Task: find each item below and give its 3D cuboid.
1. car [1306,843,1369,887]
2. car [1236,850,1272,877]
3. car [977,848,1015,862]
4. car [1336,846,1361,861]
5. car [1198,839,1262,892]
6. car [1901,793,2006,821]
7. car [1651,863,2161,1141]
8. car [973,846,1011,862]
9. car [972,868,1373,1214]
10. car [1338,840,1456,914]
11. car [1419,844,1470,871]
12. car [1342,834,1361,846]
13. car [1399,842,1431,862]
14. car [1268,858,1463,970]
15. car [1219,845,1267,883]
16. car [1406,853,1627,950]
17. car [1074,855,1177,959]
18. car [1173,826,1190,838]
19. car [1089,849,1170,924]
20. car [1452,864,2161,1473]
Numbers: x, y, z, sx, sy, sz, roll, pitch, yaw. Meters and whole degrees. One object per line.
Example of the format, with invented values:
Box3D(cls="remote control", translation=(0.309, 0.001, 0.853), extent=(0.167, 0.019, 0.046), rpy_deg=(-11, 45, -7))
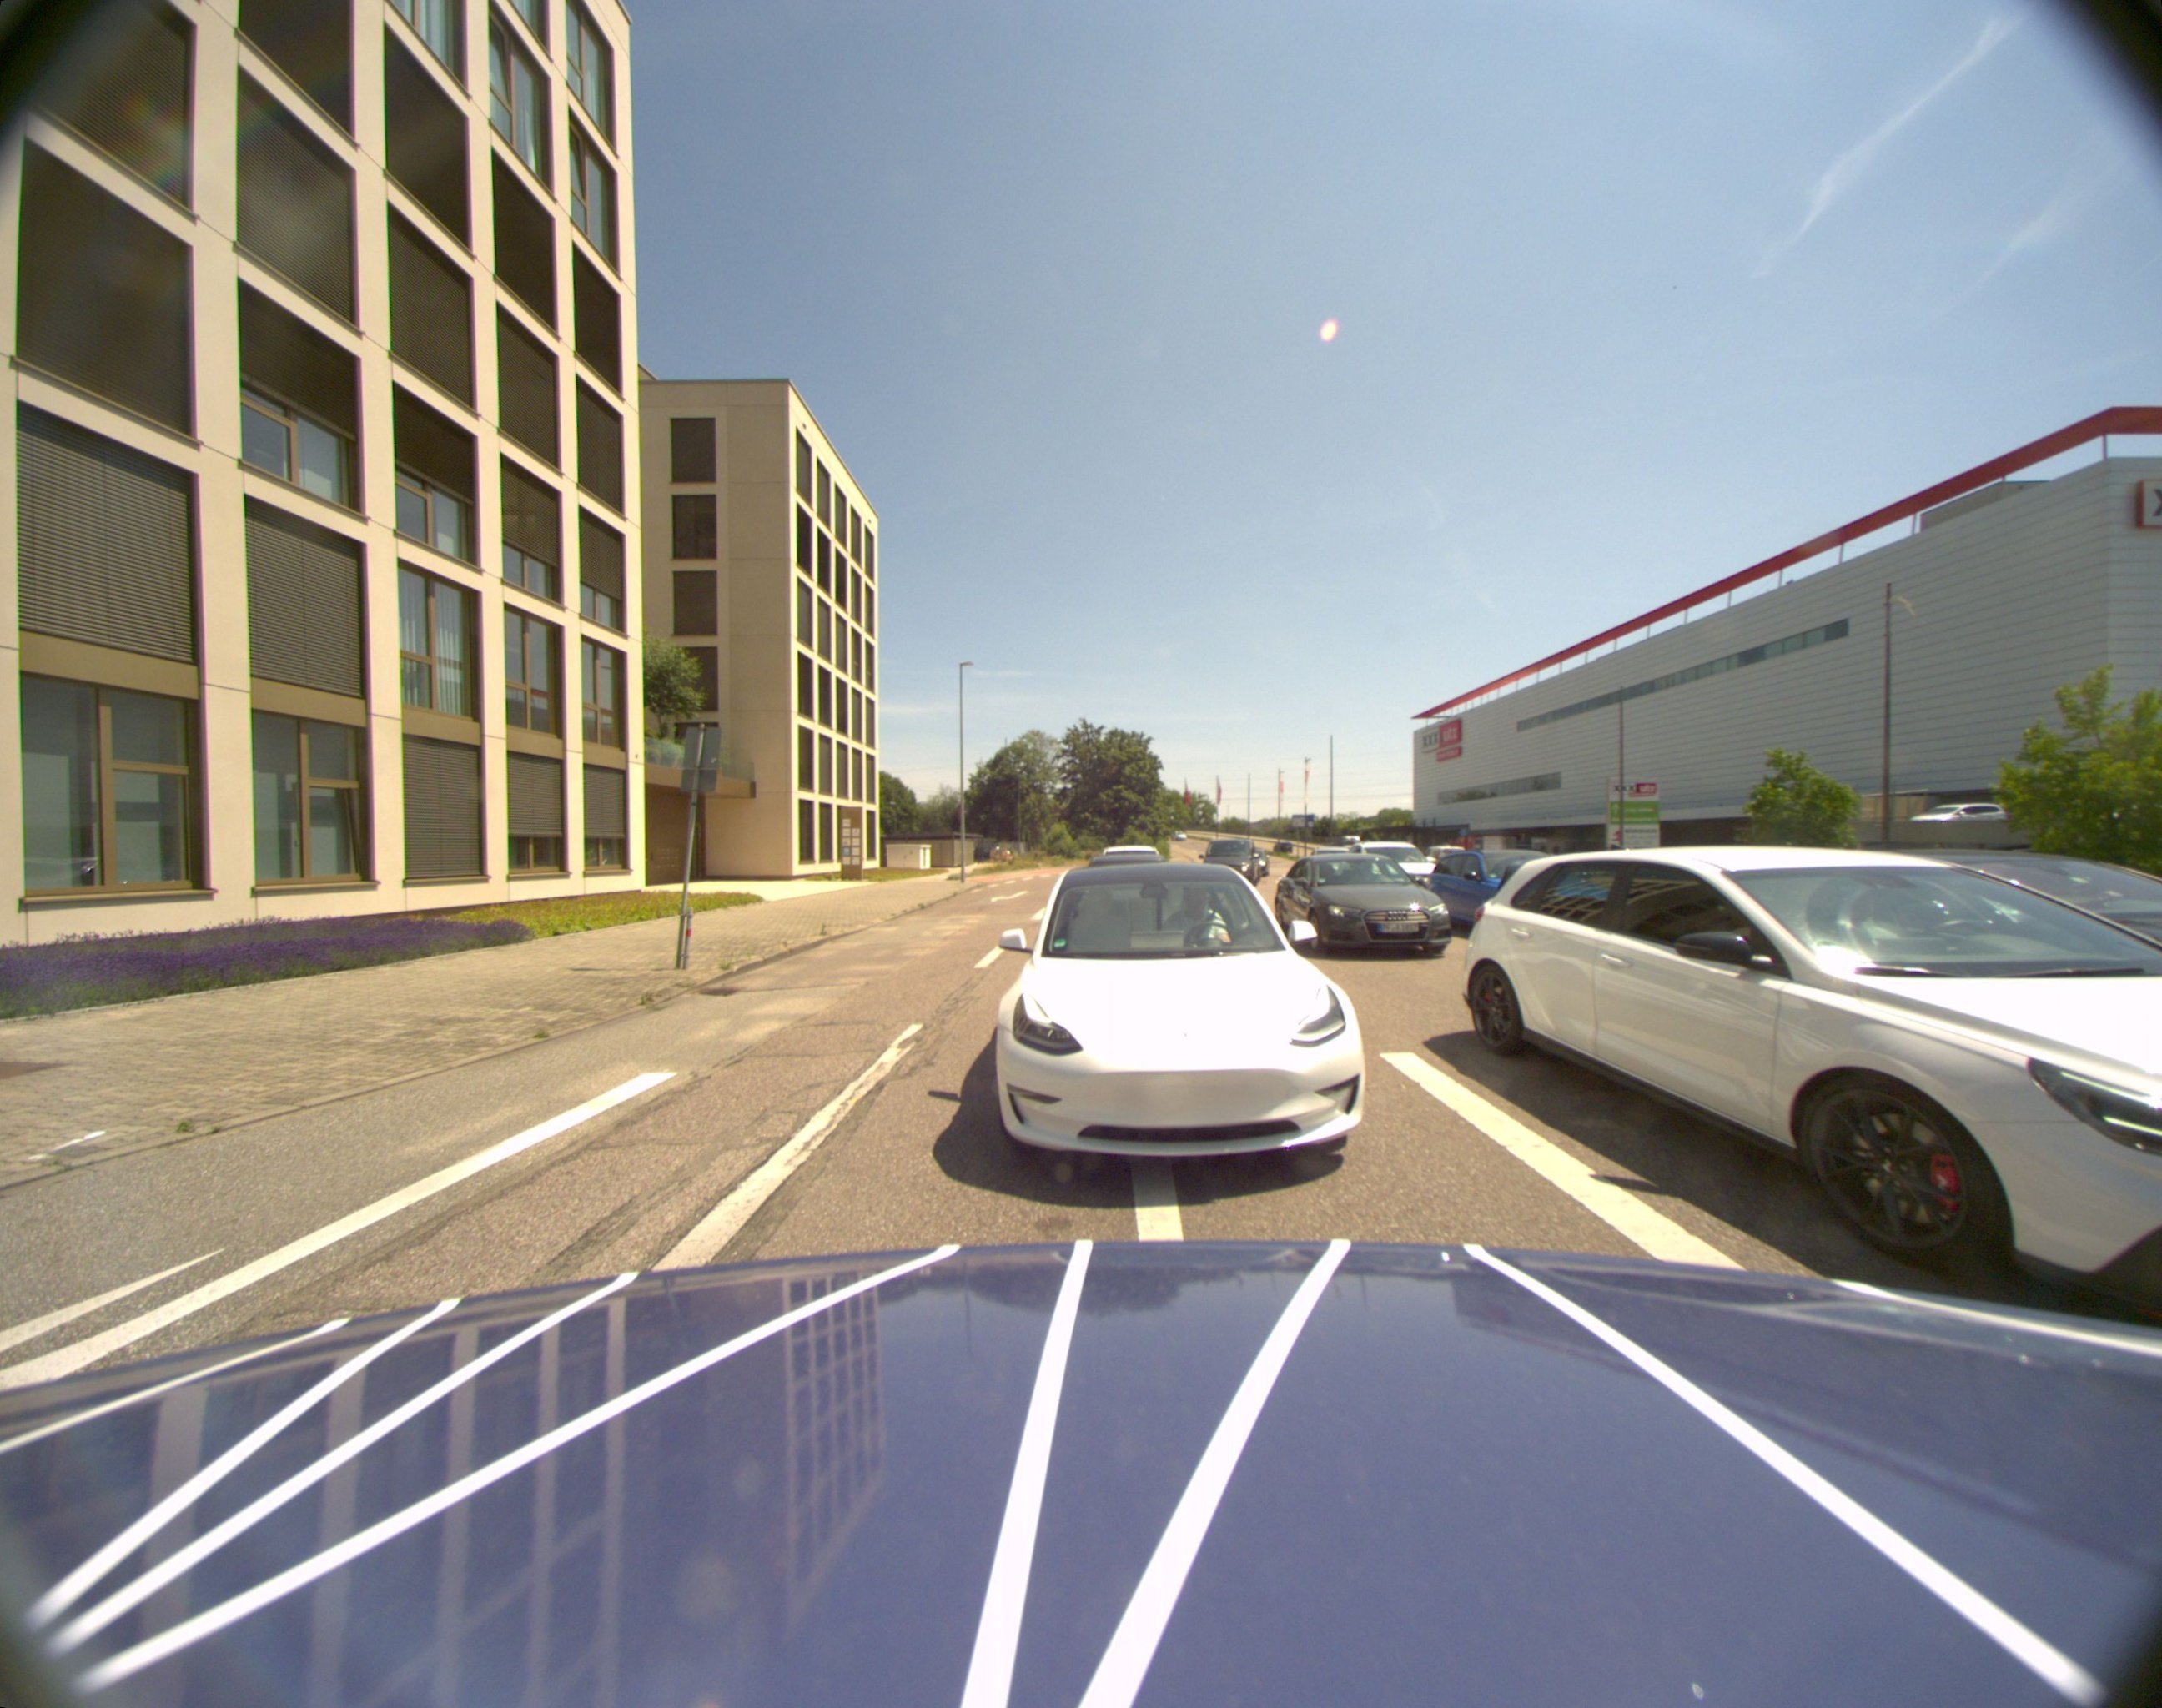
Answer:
Box3D(cls="car", translation=(9.121, 0.369, 27.265), extent=(1.767, 1.414, 3.903), rpy_deg=(-2, 0, 14))
Box3D(cls="car", translation=(9.919, 0.513, 43.410), extent=(1.606, 1.431, 3.738), rpy_deg=(0, 1, 19))
Box3D(cls="car", translation=(-9.111, 0.102, 81.218), extent=(3.834, 1.386, 1.736), rpy_deg=(0, 1, -13))
Box3D(cls="car", translation=(31.357, -0.108, 89.187), extent=(1.866, 1.713, 4.045), rpy_deg=(0, 0, 6))
Box3D(cls="car", translation=(5.703, 0.365, 28.639), extent=(1.893, 1.811, 4.842), rpy_deg=(0, 1, 17))
Box3D(cls="car", translation=(51.784, -2.765, 45.165), extent=(3.995, 1.499, 1.718), rpy_deg=(0, 1, 6))
Box3D(cls="car", translation=(6.592, 0.803, 5.489), extent=(1.675, 1.396, 4.467), rpy_deg=(-2, 0, 2))
Box3D(cls="car", translation=(-9.273, -0.010, 79.173), extent=(3.834, 1.543, 1.736), rpy_deg=(0, 1, -13))
Box3D(cls="car", translation=(0.459, 0.919, 5.693), extent=(1.823, 1.428, 4.284), rpy_deg=(-2, 1, 1))
Box3D(cls="car", translation=(7.916, 0.511, 19.464), extent=(1.768, 1.632, 4.494), rpy_deg=(-2, 1, 9))
Box3D(cls="car", translation=(24.138, 0.192, 50.630), extent=(1.865, 1.713, 4.044), rpy_deg=(0, 1, 7))
Box3D(cls="car", translation=(52.062, -2.661, 146.464), extent=(2.191, 2.270, 4.814), rpy_deg=(0, 1, 4))
Box3D(cls="car", translation=(32.795, -0.220, 74.729), extent=(1.817, 1.893, 3.730), rpy_deg=(0, 1, 7))
Box3D(cls="car", translation=(4.121, 0.772, 11.718), extent=(1.769, 1.374, 4.091), rpy_deg=(0, 0, 5))
Box3D(cls="car", translation=(7.554, 0.428, 35.202), extent=(1.811, 1.630, 4.005), rpy_deg=(0, 1, 18))
Box3D(cls="car", translation=(7.349, 0.707, 13.404), extent=(1.768, 1.395, 4.433), rpy_deg=(-1, 0, 7))
Box3D(cls="car", translation=(0.823, 0.803, 13.379), extent=(1.556, 1.528, 3.822), rpy_deg=(0, 1, 5))
Box3D(cls="car", translation=(18.202, -3.973, 137.659), extent=(2.000, 1.893, 3.997), rpy_deg=(-2, 1, -7))
Box3D(cls="car", translation=(1.226, 0.702, 18.763), extent=(1.777, 1.600, 3.821), rpy_deg=(0, 1, 5))
Box3D(cls="car", translation=(3.675, 0.835, 3.673), extent=(1.792, 1.428, 4.070), rpy_deg=(-2, 1, 1))
